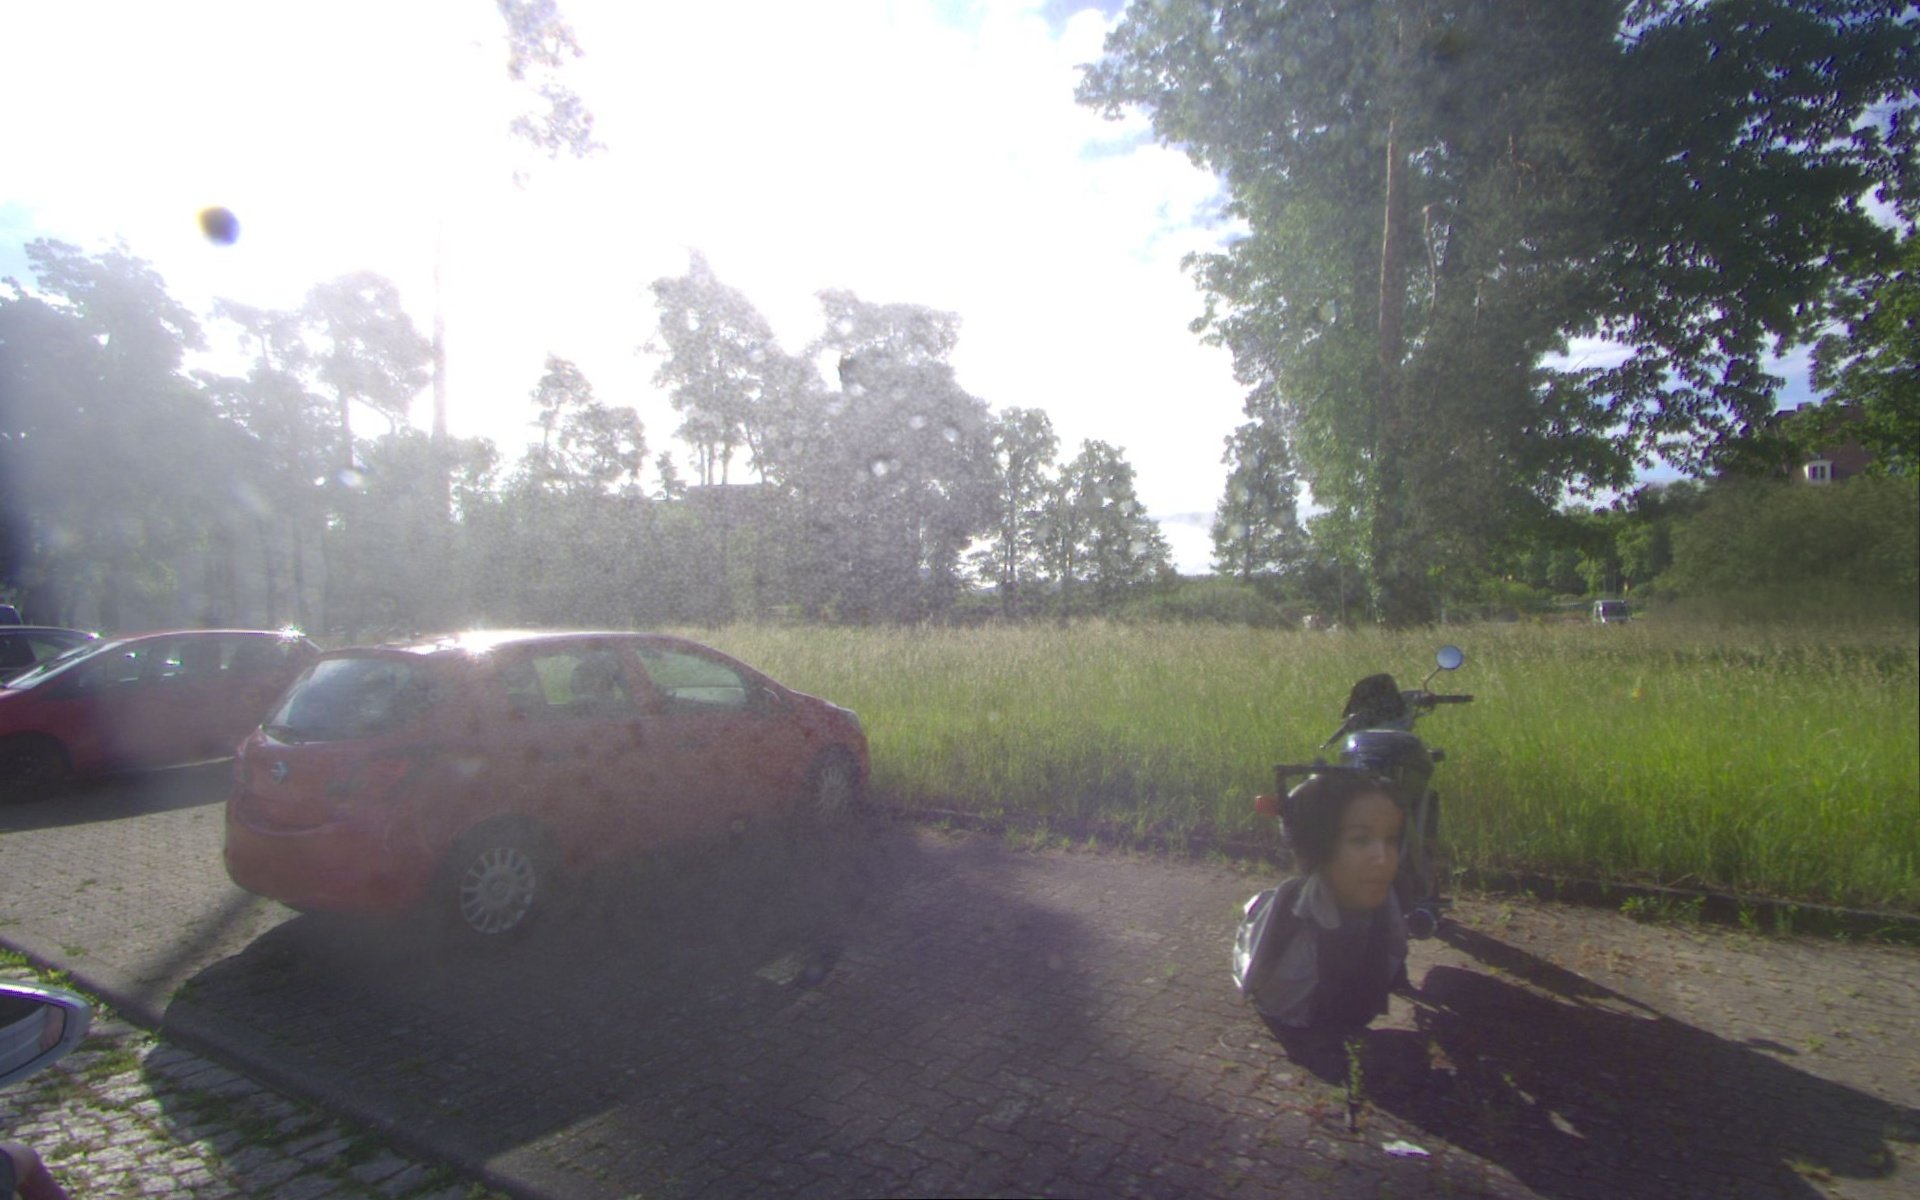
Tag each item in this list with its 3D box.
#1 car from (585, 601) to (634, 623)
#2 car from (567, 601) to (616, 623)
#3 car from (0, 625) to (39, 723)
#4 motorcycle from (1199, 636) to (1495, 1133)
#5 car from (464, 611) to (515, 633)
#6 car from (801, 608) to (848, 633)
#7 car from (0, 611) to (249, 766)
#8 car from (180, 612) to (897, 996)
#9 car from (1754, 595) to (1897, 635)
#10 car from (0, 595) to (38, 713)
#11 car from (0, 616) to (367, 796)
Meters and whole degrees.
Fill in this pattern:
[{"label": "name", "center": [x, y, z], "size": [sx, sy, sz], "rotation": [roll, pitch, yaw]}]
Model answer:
[{"label": "car", "center": [-32.736, 1.111, 93.699], "size": [1.971, 2.040, 3.979], "rotation": [-1, 0, 32]}, {"label": "car", "center": [-34.909, 1.110, 94.945], "size": [1.971, 2.040, 3.979], "rotation": [-1, 0, 32]}, {"label": "car", "center": [-16.228, 1.165, 14.661], "size": [1.621, 1.508, 3.714], "rotation": [-1, 0, 29]}, {"label": "motorcycle", "center": [1.681, 0.862, 4.044], "size": [0.715, 1.338, 2.295], "rotation": [0, 0, 31]}, {"label": "car", "center": [-45.278, 2.137, 96.426], "size": [1.971, 2.040, 3.979], "rotation": [-1, 0, 32]}, {"label": "car", "center": [-11.654, 1.744, 86.415], "size": [1.971, 2.040, 3.979], "rotation": [-1, 0, 32]}, {"label": "car", "center": [-10.770, 0.961, 11.462], "size": [1.746, 1.643, 3.930], "rotation": [-1, -1, 30]}, {"label": "car", "center": [-2.146, 0.861, 6.133], "size": [1.621, 1.498, 3.819], "rotation": [-1, 0, 31]}, {"label": "car", "center": [51.092, 0.903, 59.250], "size": [2.346, 2.199, 5.975], "rotation": [0, -2, -35]}, {"label": "car", "center": [-18.376, 0.927, 16.210], "size": [2.052, 2.040, 4.672], "rotation": [-1, -1, 29]}, {"label": "car", "center": [-8.425, 0.954, 10.242], "size": [1.621, 1.550, 3.757], "rotation": [-1, -1, 30]}]
